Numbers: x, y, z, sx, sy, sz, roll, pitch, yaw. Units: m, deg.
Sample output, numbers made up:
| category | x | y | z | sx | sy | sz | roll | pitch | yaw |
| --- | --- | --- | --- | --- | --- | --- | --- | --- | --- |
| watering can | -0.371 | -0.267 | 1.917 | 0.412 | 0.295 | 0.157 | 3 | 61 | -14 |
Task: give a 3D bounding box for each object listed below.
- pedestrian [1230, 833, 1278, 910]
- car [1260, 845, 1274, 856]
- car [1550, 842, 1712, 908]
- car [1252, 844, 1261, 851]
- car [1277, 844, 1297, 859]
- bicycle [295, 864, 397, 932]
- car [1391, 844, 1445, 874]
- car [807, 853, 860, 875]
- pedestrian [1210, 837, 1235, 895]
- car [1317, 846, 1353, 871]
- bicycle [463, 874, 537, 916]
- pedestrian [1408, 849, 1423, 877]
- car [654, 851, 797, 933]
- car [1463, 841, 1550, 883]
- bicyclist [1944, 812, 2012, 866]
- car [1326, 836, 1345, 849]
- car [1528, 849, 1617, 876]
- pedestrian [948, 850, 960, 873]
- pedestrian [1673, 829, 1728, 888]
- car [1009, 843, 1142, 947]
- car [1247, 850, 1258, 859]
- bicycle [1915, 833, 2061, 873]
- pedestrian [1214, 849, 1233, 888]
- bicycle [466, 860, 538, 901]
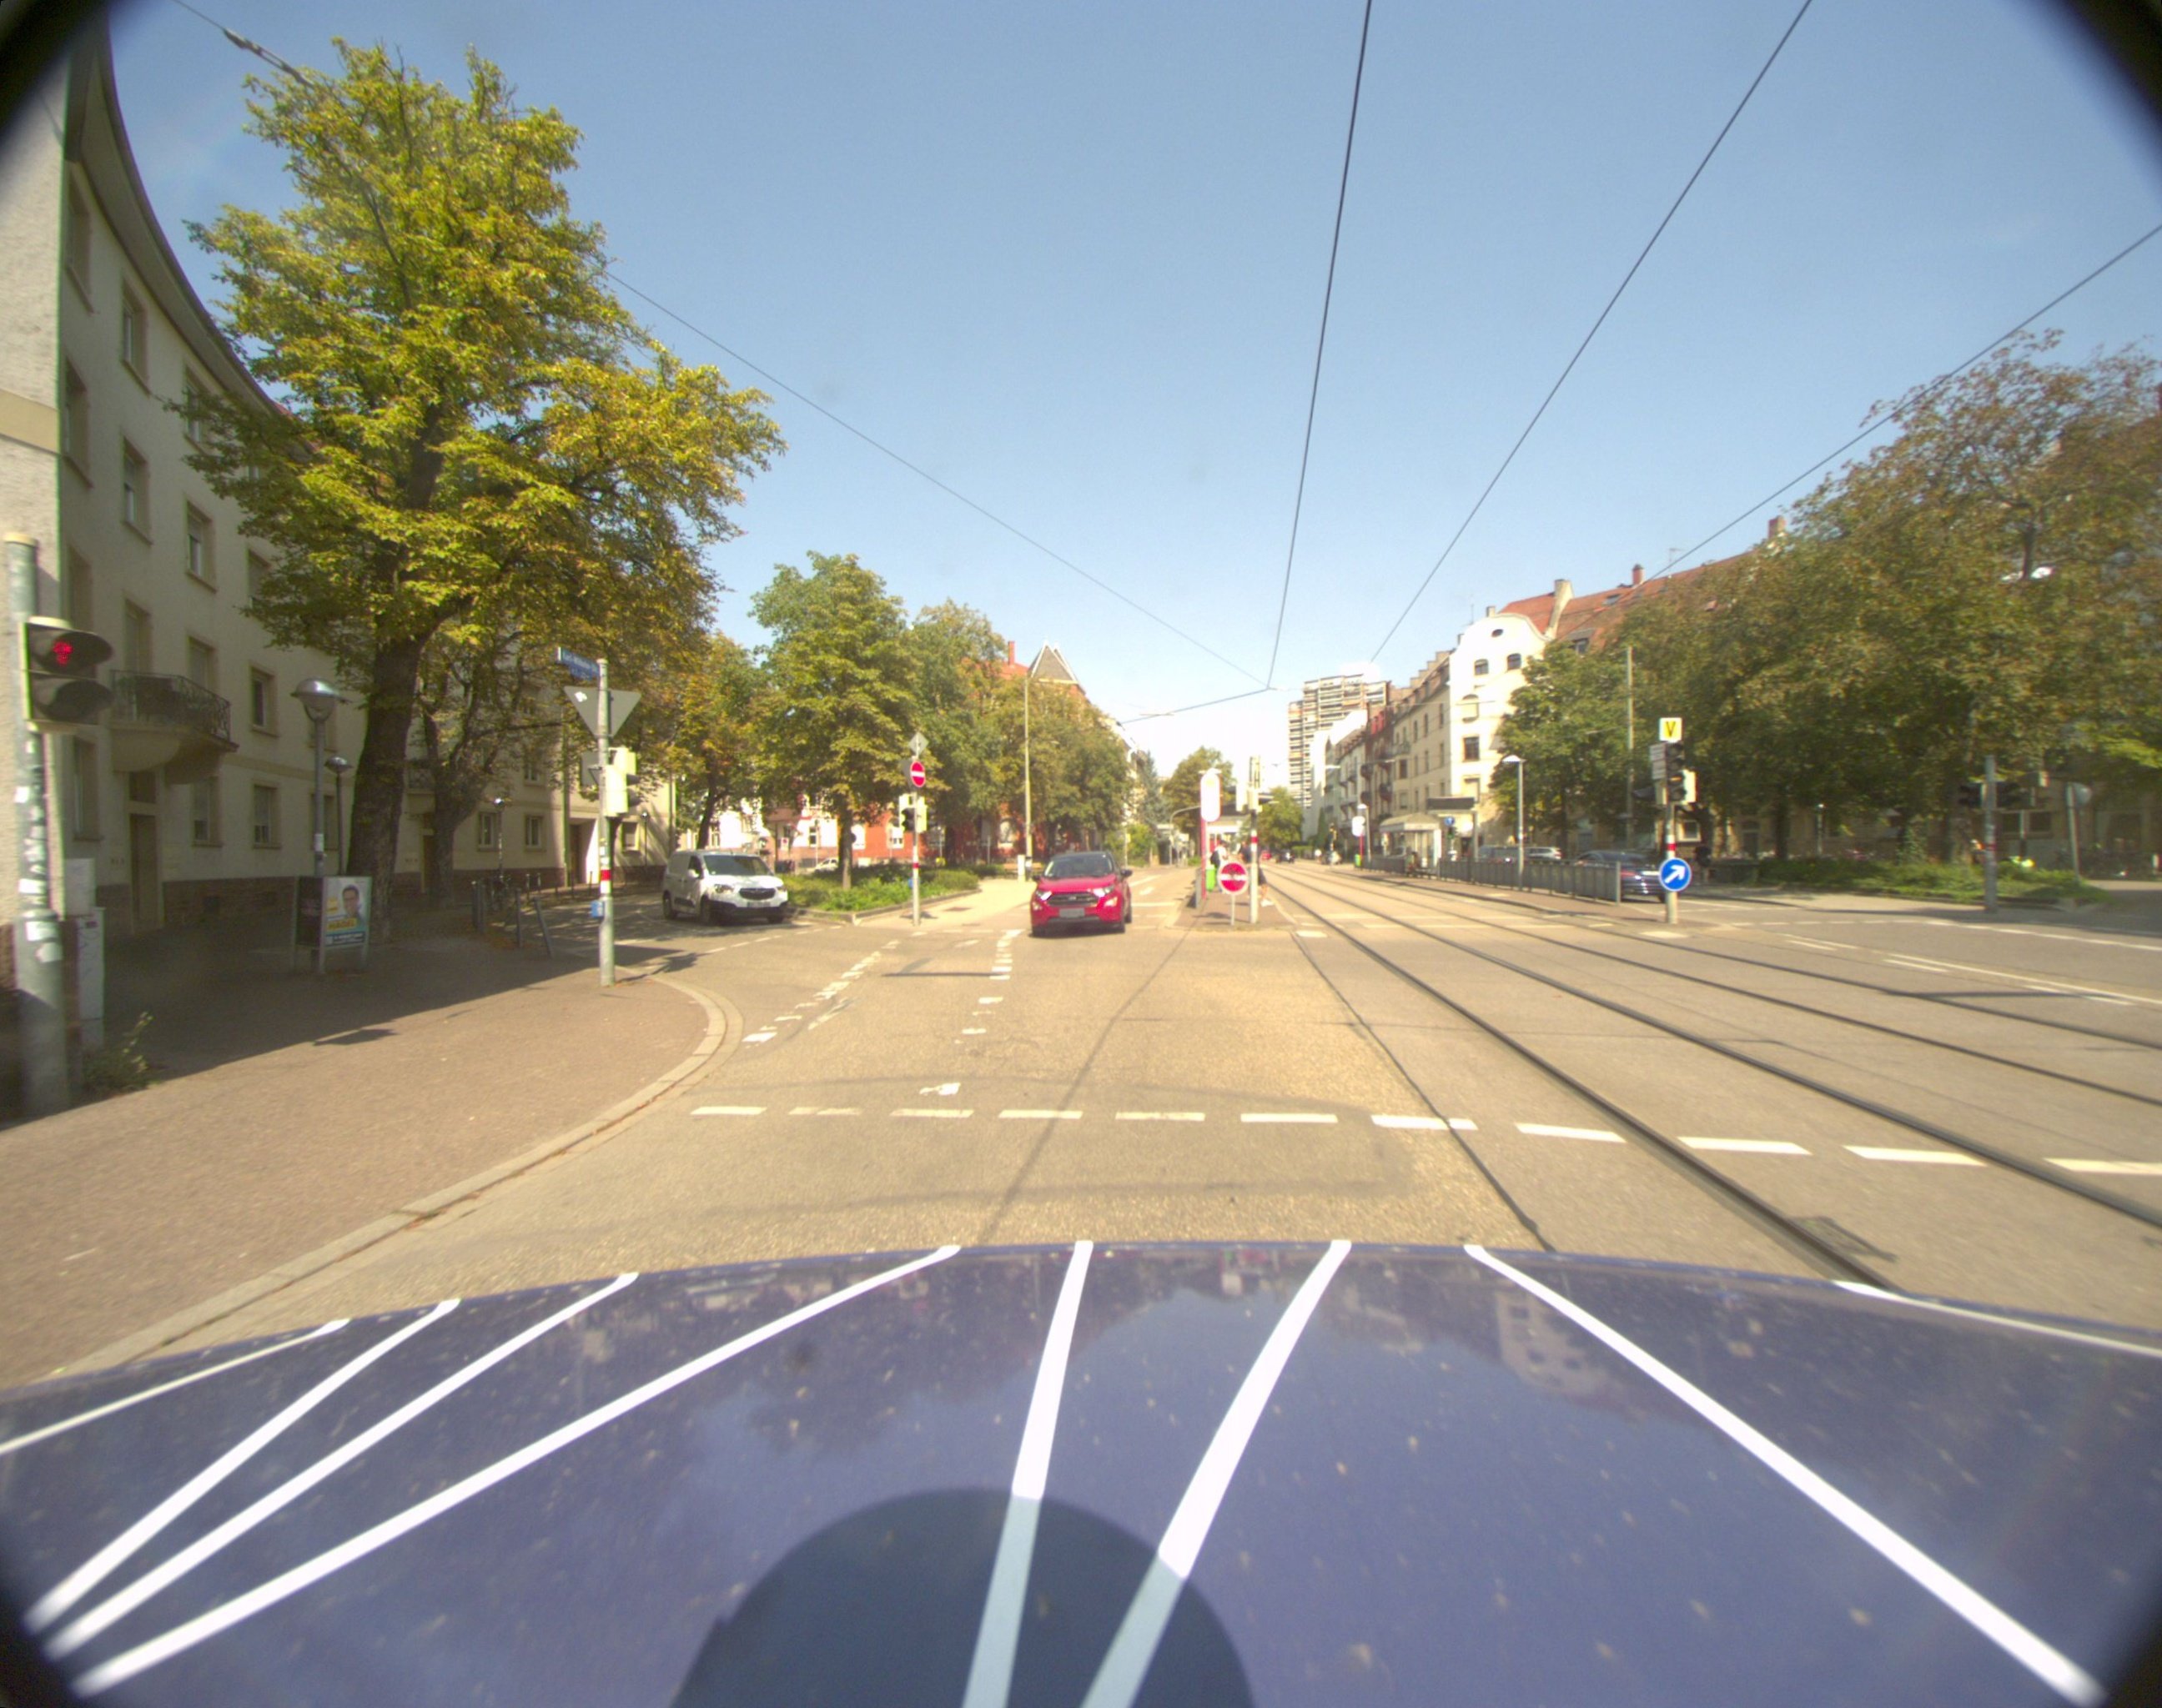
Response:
| category | x | y | z | sx | sy | sz | roll | pitch | yaw |
| --- | --- | --- | --- | --- | --- | --- | --- | --- | --- |
| pedestrian | 4.309 | 0.415 | 18.951 | 0.924 | 1.874 | 0.674 | -1 | 1 | -25 |
| car | 29.497 | -0.502 | 120.712 | 1.997 | 1.716 | 4.634 | 0 | 1 | 11 |
| car | 15.268 | 0.507 | 21.447 | 1.996 | 1.638 | 4.635 | 0 | 1 | 12 |
| car | 40.351 | -1.470 | 174.728 | 1.997 | 1.716 | 4.634 | 0 | 1 | 11 |
| car | 25.102 | -0.293 | 92.855 | 1.997 | 1.716 | 4.634 | 0 | 1 | 11 |
| bicycle | -17.075 | 0.964 | 17.743 | 1.024 | 1.444 | 2.684 | 0 | 0 | -29 |
| car | 20.343 | 0.255 | 46.079 | 1.997 | 1.716 | 4.634 | 0 | 1 | 11 |
| car | -20.539 | 0.828 | 62.969 | 4.403 | 1.801 | 1.808 | -1 | 1 | 34 |
| pedestrian | 4.717 | 0.392 | 25.306 | 0.674 | 1.874 | 0.924 | 0 | 1 | 20 |
| car | 18.375 | 0.282 | 55.161 | 1.996 | 1.716 | 4.635 | 0 | 1 | 12 |
| bicycle | -17.094 | 1.179 | 22.416 | 0.811 | 1.119 | 2.266 | 2 | 0 | -12 |
| pedestrian | 15.008 | 0.418 | 34.105 | 0.479 | 1.243 | 0.649 | -1 | 1 | 11 |
| car | -8.932 | 0.848 | 18.896 | 4.403 | 1.801 | 1.808 | 0 | 1 | 45 |
| car | 17.756 | 0.288 | 31.965 | 1.996 | 1.638 | 4.635 | 0 | 1 | 14 |
| bicyclist | 34.642 | -0.580 | 29.361 | 1.209 | 2.002 | 1.210 | -1 | 2 | -8 |
| car | 36.551 | -1.651 | 109.080 | 1.997 | 1.716 | 4.634 | 0 | 1 | 11 |
| car | 32.890 | 0.537 | 50.970 | 2.004 | 1.716 | 4.618 | 0 | 1 | -36 |
| pedestrian | -10.415 | 0.628 | 62.166 | 0.676 | 1.874 | 0.921 | -1 | 1 | -30 |
| pedestrian | 21.772 | 0.150 | 26.738 | 1.093 | 2.002 | 1.037 | -2 | 1 | 10 |
| car | 0.066 | 0.721 | 15.635 | 1.801 | 1.801 | 4.420 | -2 | 0 | 12 |
| car | 32.709 | 0.075 | 144.833 | 1.997 | 1.716 | 4.634 | 0 | 1 | 11 |
| bicycle | 34.683 | -0.026 | 29.192 | 1.223 | 1.428 | 3.482 | -1 | 0 | -8 |
| pedestrian | 5.807 | 0.584 | 30.899 | 0.738 | 1.575 | 0.854 | -1 | 1 | 10 |
| bicycle | -21.577 | 0.970 | 28.390 | 0.891 | 1.401 | 2.353 | -2 | 1 | -2 |
